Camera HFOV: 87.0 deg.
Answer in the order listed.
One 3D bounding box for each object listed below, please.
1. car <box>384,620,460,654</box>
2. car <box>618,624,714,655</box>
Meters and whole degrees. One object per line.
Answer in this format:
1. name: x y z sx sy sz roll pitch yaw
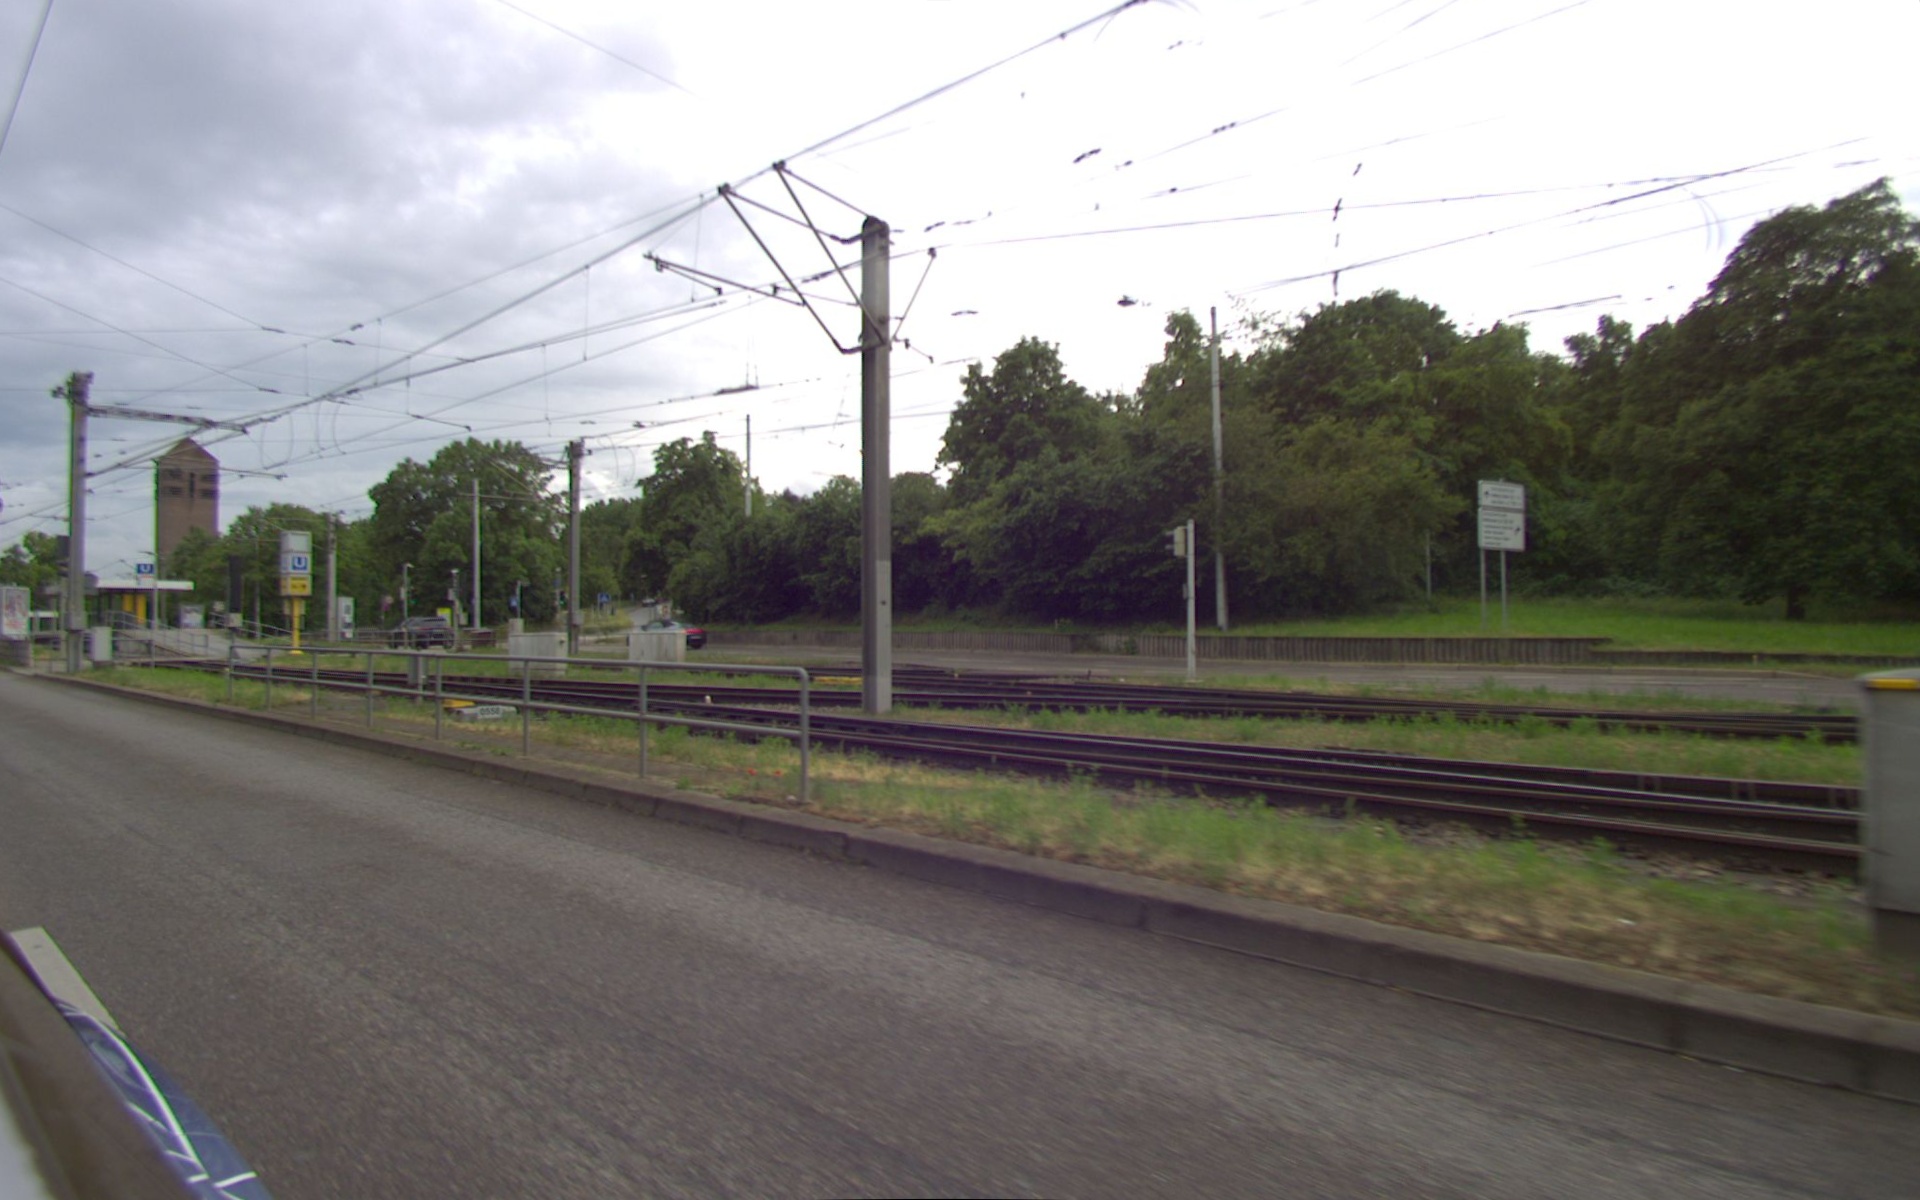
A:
1. car: -29.476 2.001 55.411 4.859 1.752 2.062 -2 -2 40
2. car: -12.887 1.717 44.292 4.471 1.271 1.907 -2 -2 40
